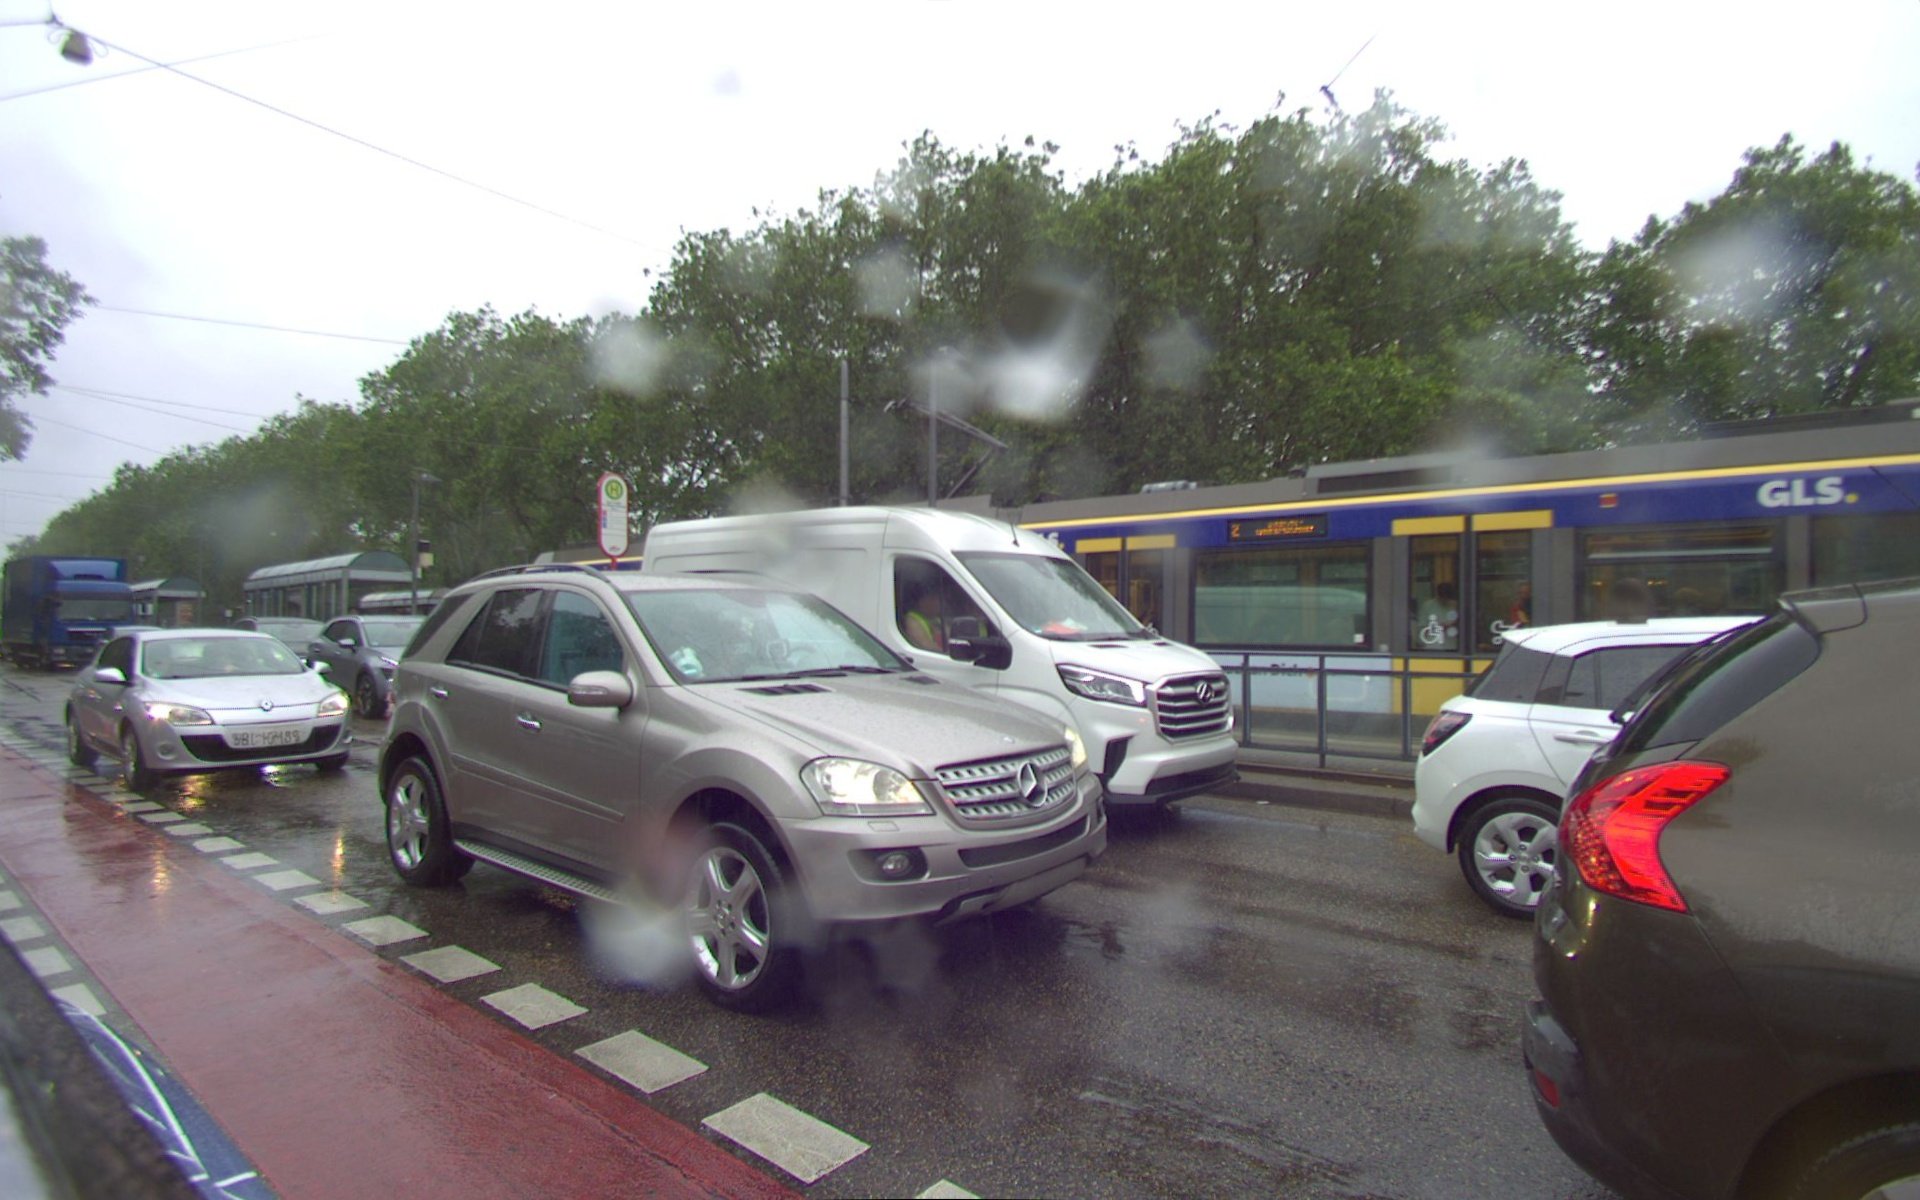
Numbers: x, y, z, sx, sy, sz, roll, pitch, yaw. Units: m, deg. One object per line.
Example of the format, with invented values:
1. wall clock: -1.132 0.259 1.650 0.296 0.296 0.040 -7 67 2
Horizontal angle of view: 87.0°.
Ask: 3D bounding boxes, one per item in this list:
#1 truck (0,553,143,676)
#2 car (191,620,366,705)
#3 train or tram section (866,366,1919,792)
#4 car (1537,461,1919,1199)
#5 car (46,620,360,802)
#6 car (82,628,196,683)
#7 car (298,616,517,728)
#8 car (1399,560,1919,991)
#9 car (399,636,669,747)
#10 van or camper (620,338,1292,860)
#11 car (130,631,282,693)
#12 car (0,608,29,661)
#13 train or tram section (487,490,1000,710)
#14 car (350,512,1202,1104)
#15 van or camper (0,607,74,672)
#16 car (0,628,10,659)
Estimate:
1. truck: -32.166 0.597 36.239 9.803 3.919 2.513 -1 -4 40
2. car: -14.656 1.271 21.688 4.316 1.633 1.974 -1 -2 40
3. train or tram section: 5.441 -0.106 12.574 15.498 3.439 3.503 -1 0 42
4. car: 3.275 0.596 1.246 4.170 1.681 1.815 -1 -1 41
5. car: -7.877 0.975 10.401 3.998 1.489 1.750 -1 -1 40
6. car: -24.439 1.598 30.095 4.074 1.498 1.871 -1 -2 40
7. car: -9.412 1.121 17.086 4.454 1.636 1.894 -1 -3 43
8. car: 4.203 0.684 4.482 3.834 1.641 1.628 -1 -2 41
9. car: -5.460 1.049 12.722 4.084 1.126 1.448 -1 -1 40
10. van or camper: -0.377 0.066 8.830 5.846 3.166 2.136 -1 -2 40
11. car: -18.837 1.483 25.214 4.602 1.405 1.973 -1 -3 40
12. car: -46.784 1.688 49.059 5.727 2.445 1.972 -1 0 43
13. train or tram section: -5.550 0.098 22.135 13.653 3.539 3.476 -1 0 41
14. car: -1.249 0.667 5.280 4.459 1.783 2.004 -1 -1 40
15. van or camper: -40.049 1.650 43.559 6.427 2.590 1.973 -1 0 41
16. car: -52.356 2.325 54.078 3.998 1.589 1.973 -1 -1 41
